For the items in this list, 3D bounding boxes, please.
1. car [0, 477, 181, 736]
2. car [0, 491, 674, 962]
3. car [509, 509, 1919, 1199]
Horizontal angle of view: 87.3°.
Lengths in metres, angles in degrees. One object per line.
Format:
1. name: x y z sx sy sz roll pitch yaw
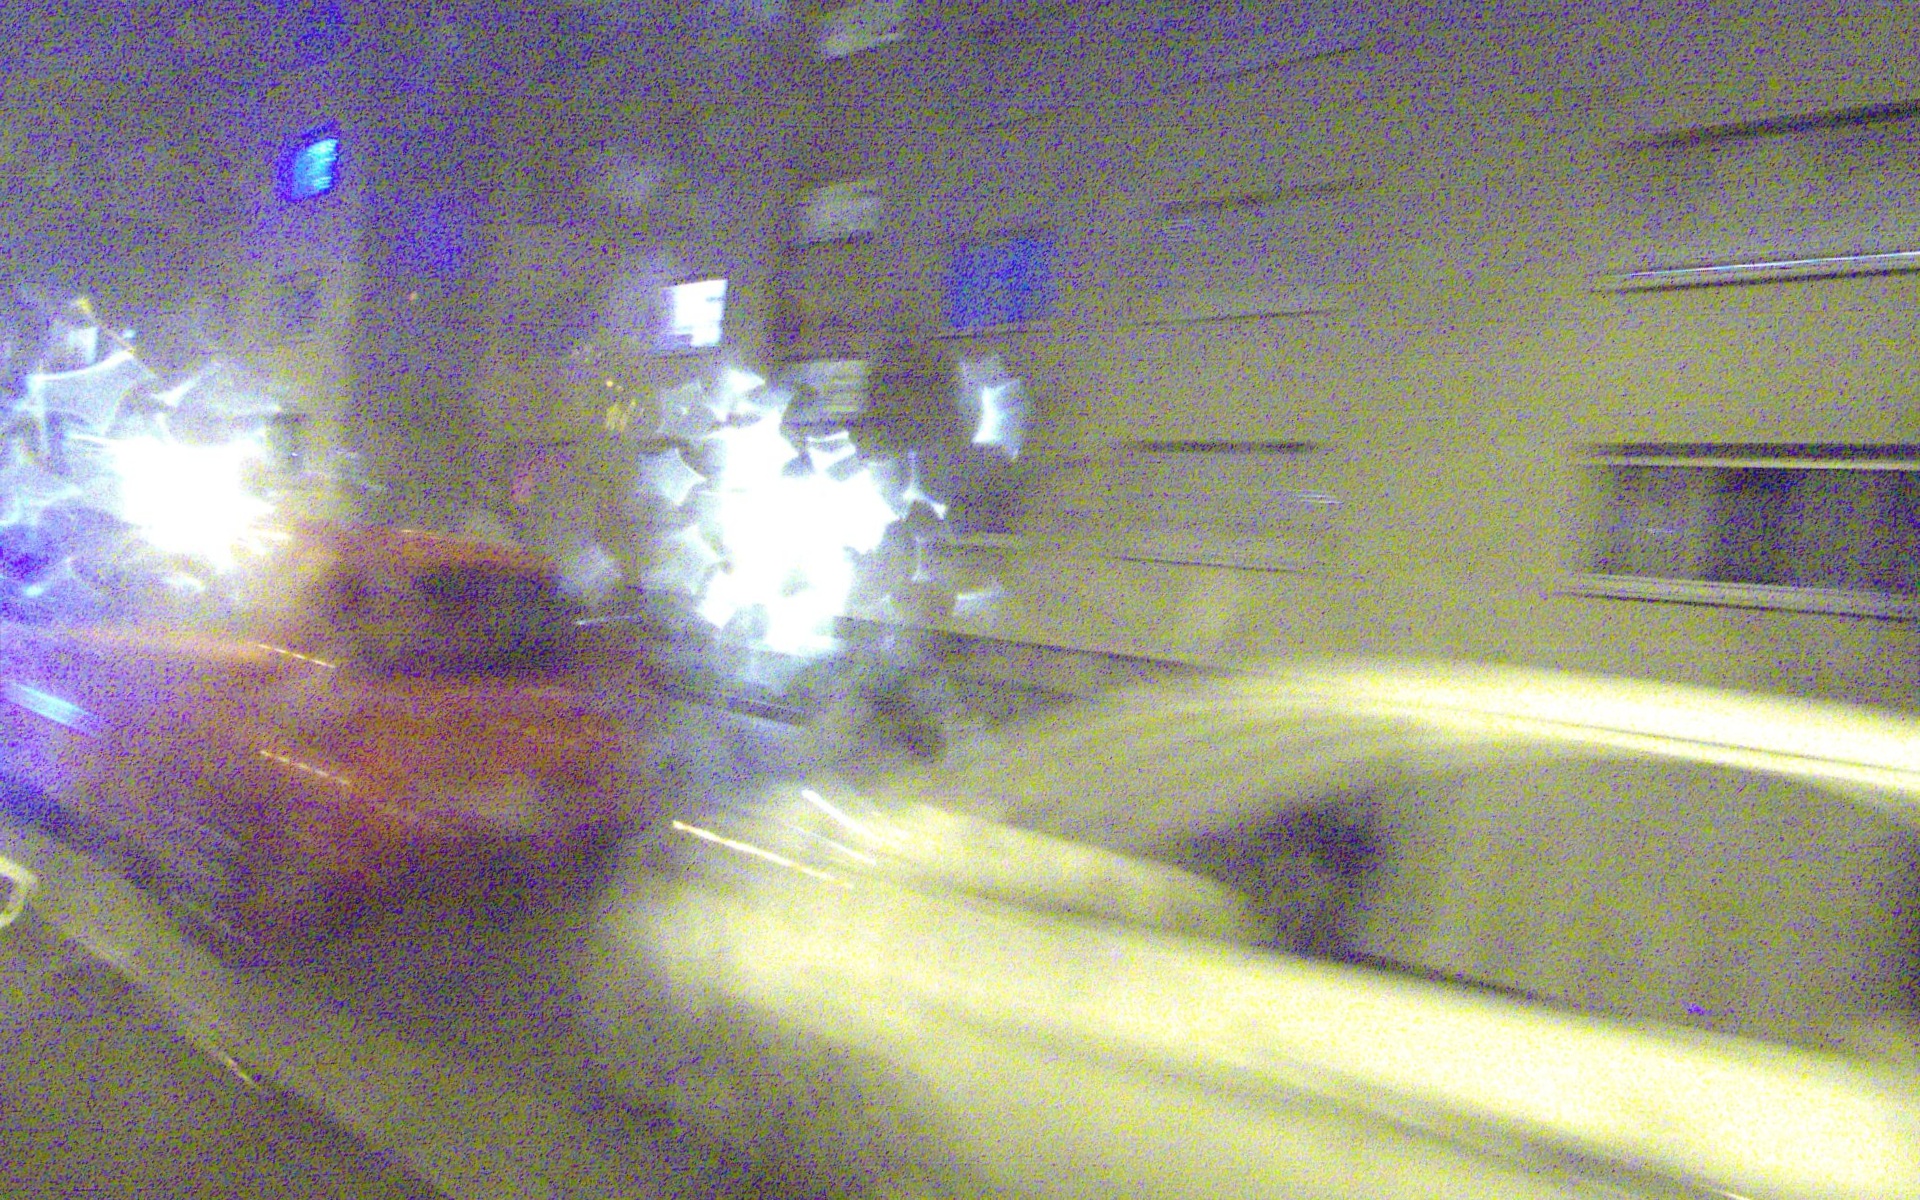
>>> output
1. car: -7.834 -0.196 7.374 4.896 1.568 1.755 7 1 33
2. car: -3.188 0.304 4.585 3.567 1.323 1.457 7 1 29
3. car: 1.267 0.798 1.968 4.206 1.507 1.676 7 1 29
